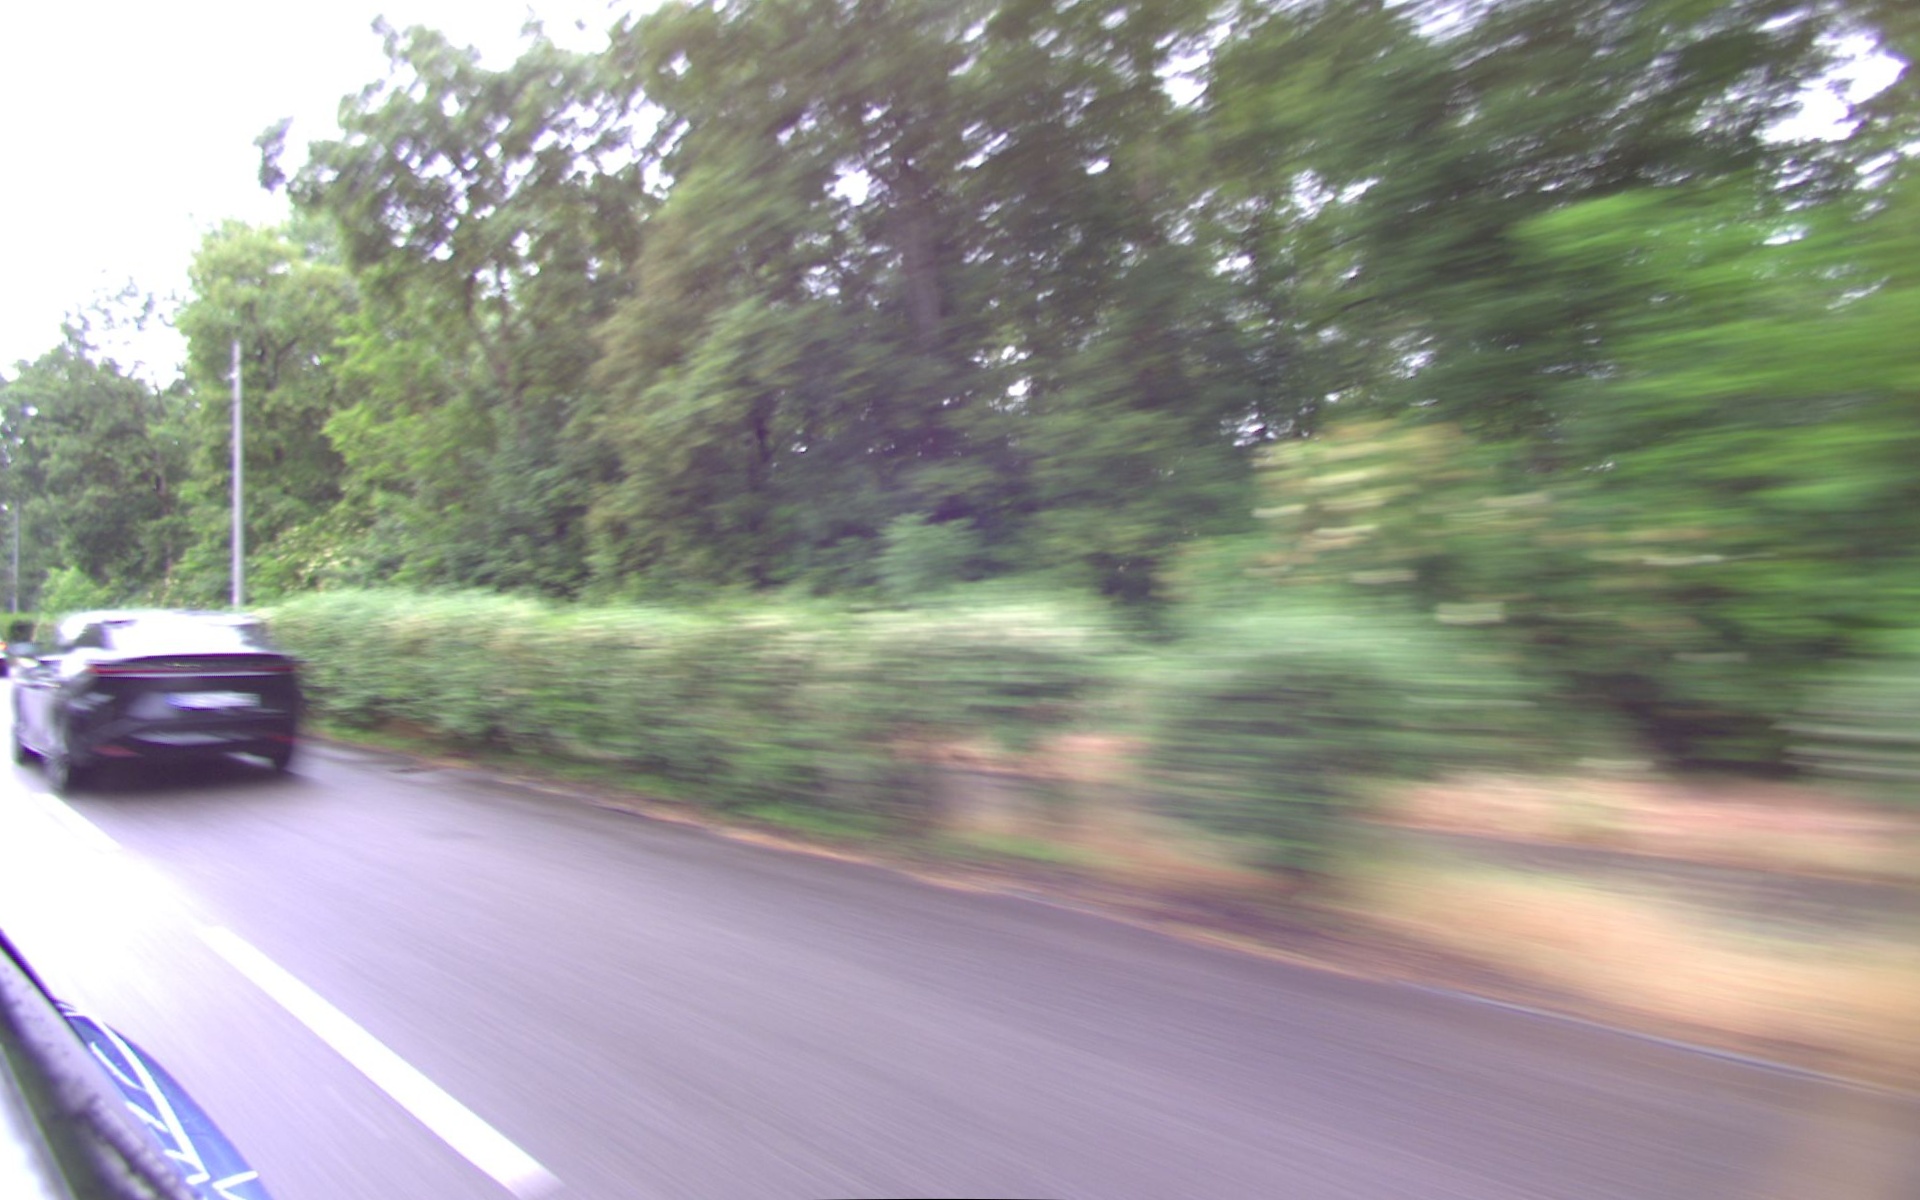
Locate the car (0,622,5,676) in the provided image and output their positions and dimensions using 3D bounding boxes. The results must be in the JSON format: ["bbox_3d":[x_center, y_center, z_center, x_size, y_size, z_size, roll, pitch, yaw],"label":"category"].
[{"bbox_3d":[-28.585,1.386,28.679,4.445,1.479,1.836,-2,-4,42],"label":"car"}]

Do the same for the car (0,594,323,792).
[{"bbox_3d":[-8.157,0.839,10.171,4.430,1.559,1.785,-2,-4,42],"label":"car"}]
